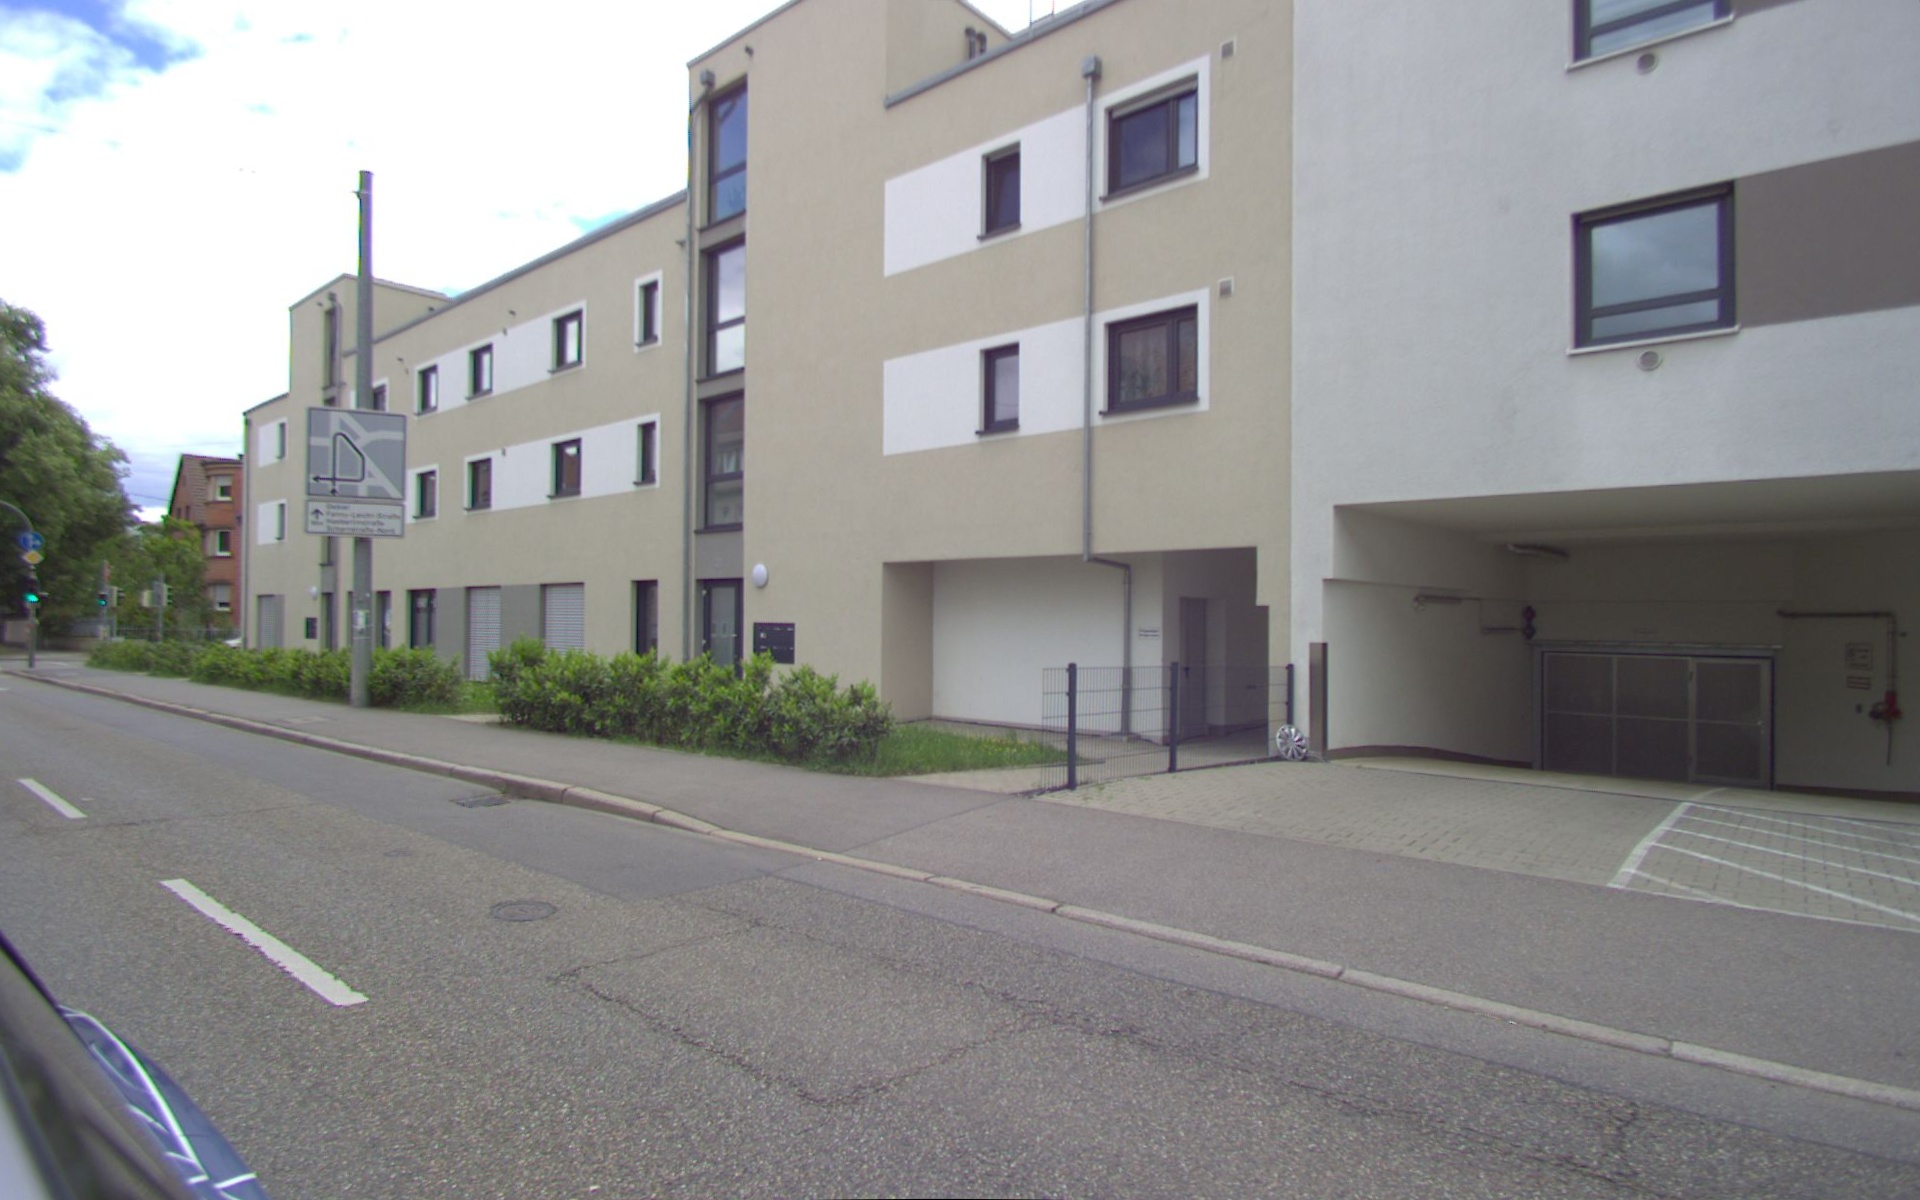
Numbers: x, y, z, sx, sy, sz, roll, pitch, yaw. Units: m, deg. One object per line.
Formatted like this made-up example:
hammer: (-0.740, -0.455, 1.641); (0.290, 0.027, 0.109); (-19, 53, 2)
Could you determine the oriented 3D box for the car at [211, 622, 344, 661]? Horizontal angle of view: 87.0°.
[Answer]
car: (-32.030, 1.904, 47.638); (2.171, 1.697, 4.757); (-1, -1, 36)
